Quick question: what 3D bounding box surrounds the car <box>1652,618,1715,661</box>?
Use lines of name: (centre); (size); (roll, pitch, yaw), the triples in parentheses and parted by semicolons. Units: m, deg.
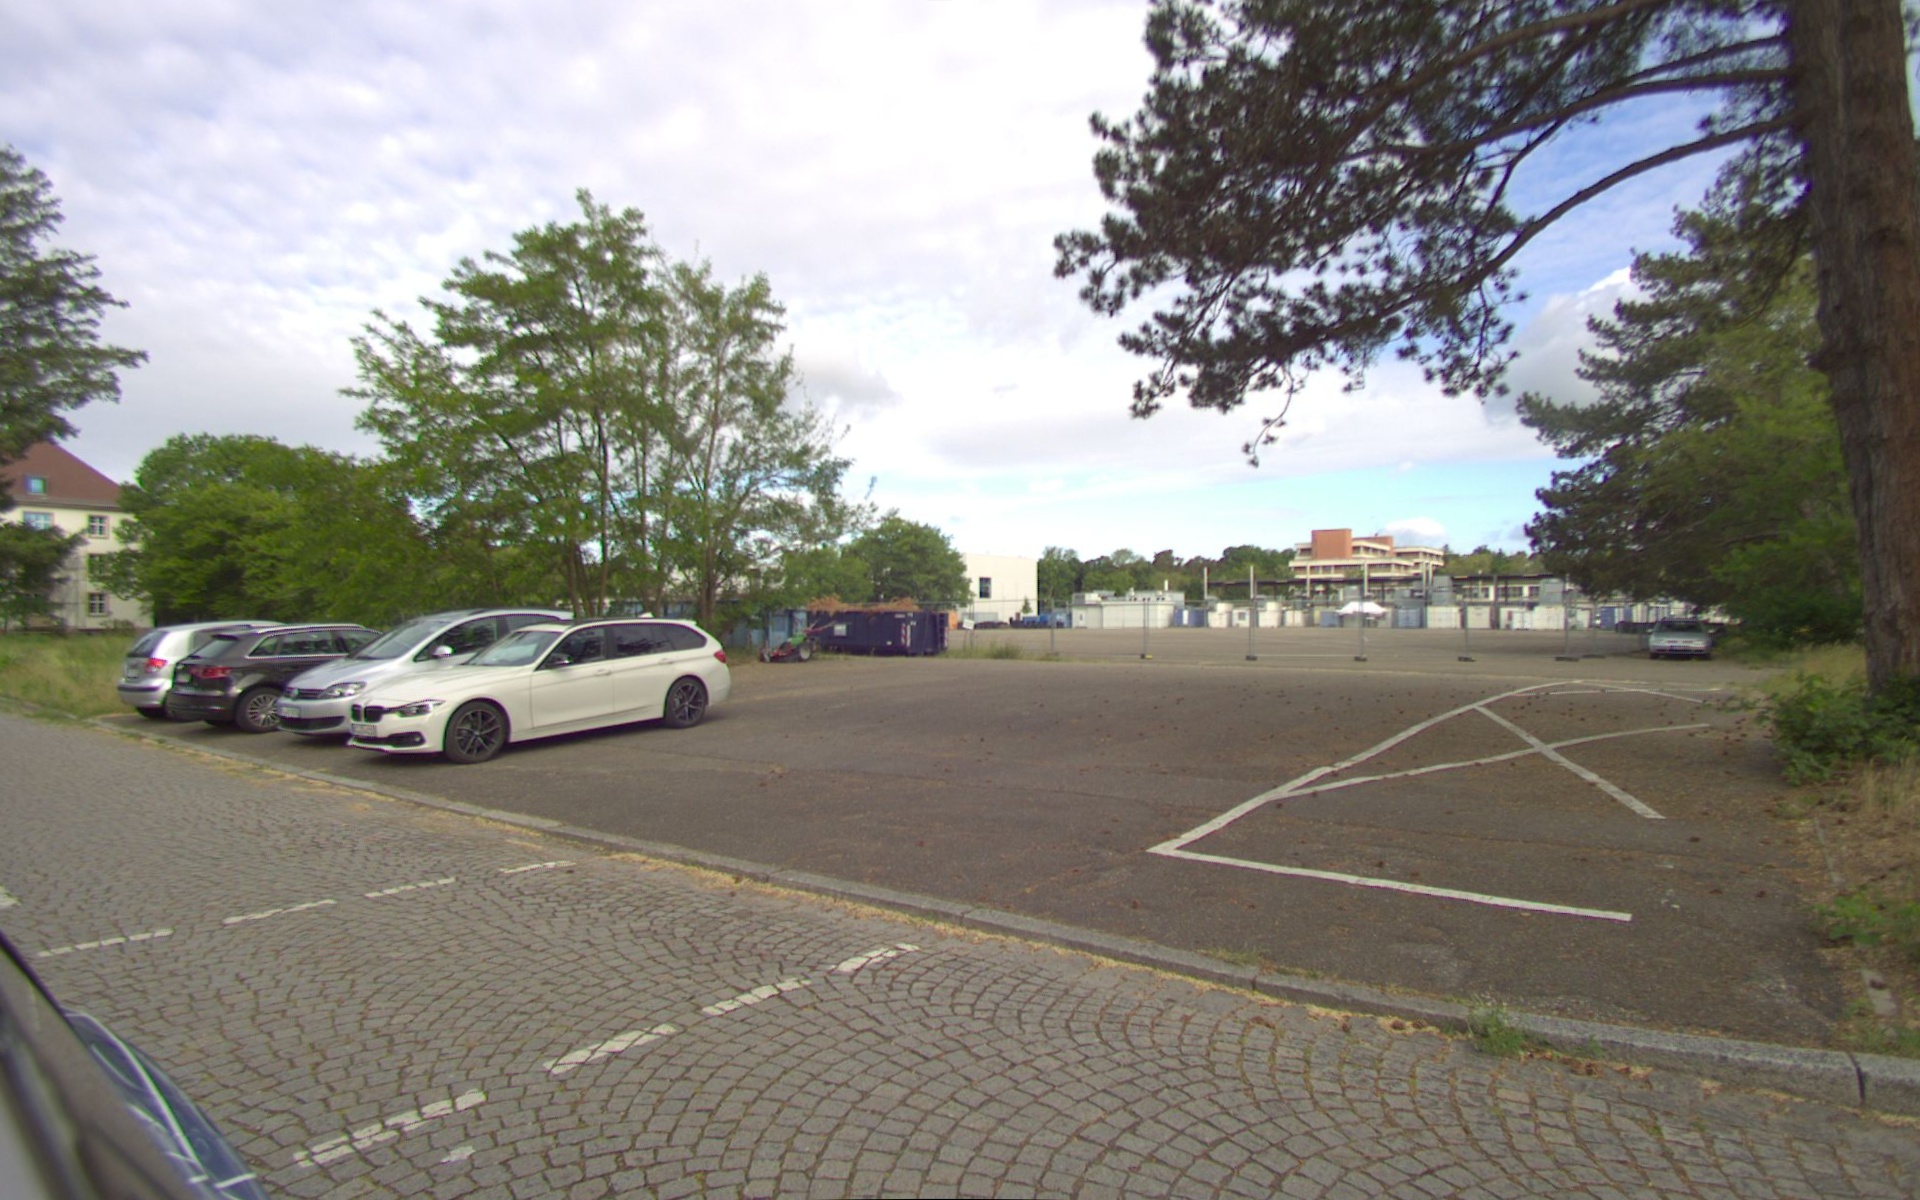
car: (25.240, 1.330, 35.311); (1.694, 1.403, 3.951); (-1, -1, 36)

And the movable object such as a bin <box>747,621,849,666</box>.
movable object such as a bin: (-4.419, 1.173, 27.768); (1.500, 1.170, 2.365); (-1, -2, 43)

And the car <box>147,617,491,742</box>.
car: (-9.375, 1.060, 15.079); (1.748, 1.438, 3.951); (-1, 1, 37)

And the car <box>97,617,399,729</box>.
car: (-11.596, 1.101, 16.696); (1.803, 1.463, 3.648); (-1, 1, 33)

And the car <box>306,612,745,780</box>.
car: (-4.938, 0.972, 12.212); (1.797, 1.454, 4.609); (-1, 1, 34)

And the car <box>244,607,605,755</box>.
car: (-7.040, 0.948, 13.701); (1.719, 1.559, 3.955); (-1, 1, 33)
